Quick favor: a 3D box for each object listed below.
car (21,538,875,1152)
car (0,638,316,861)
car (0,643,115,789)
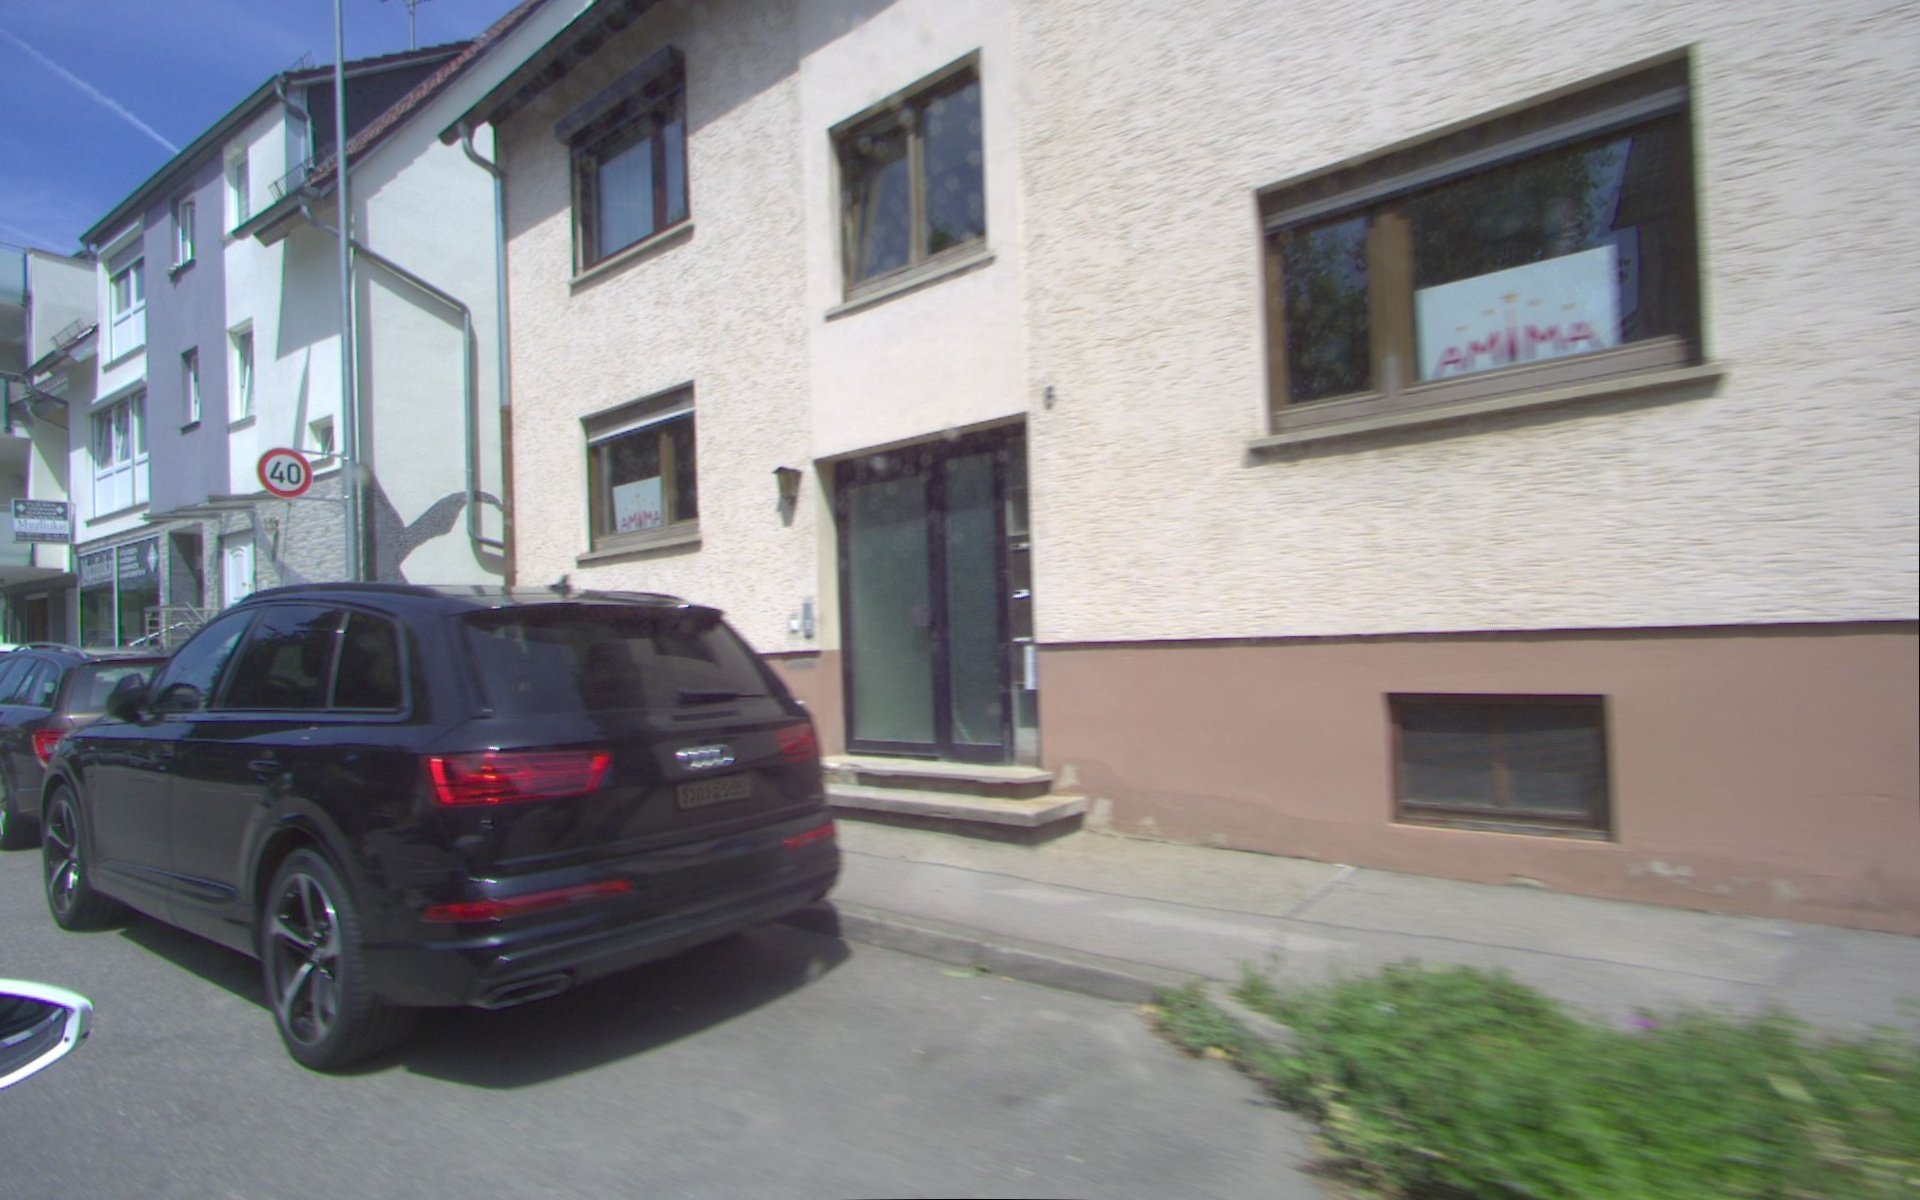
[{"bbox_3d":[-2.750,0.790,4.886,4.596,1.690,1.838,-3,-3,36],"label":"car"},{"bbox_3d":[-7.420,1.060,8.597,4.302,1.438,1.783,-2,-1,36],"label":"car"},{"bbox_3d":[-11.762,1.257,11.608,4.651,1.474,1.785,-2,-1,34],"label":"car"}]
